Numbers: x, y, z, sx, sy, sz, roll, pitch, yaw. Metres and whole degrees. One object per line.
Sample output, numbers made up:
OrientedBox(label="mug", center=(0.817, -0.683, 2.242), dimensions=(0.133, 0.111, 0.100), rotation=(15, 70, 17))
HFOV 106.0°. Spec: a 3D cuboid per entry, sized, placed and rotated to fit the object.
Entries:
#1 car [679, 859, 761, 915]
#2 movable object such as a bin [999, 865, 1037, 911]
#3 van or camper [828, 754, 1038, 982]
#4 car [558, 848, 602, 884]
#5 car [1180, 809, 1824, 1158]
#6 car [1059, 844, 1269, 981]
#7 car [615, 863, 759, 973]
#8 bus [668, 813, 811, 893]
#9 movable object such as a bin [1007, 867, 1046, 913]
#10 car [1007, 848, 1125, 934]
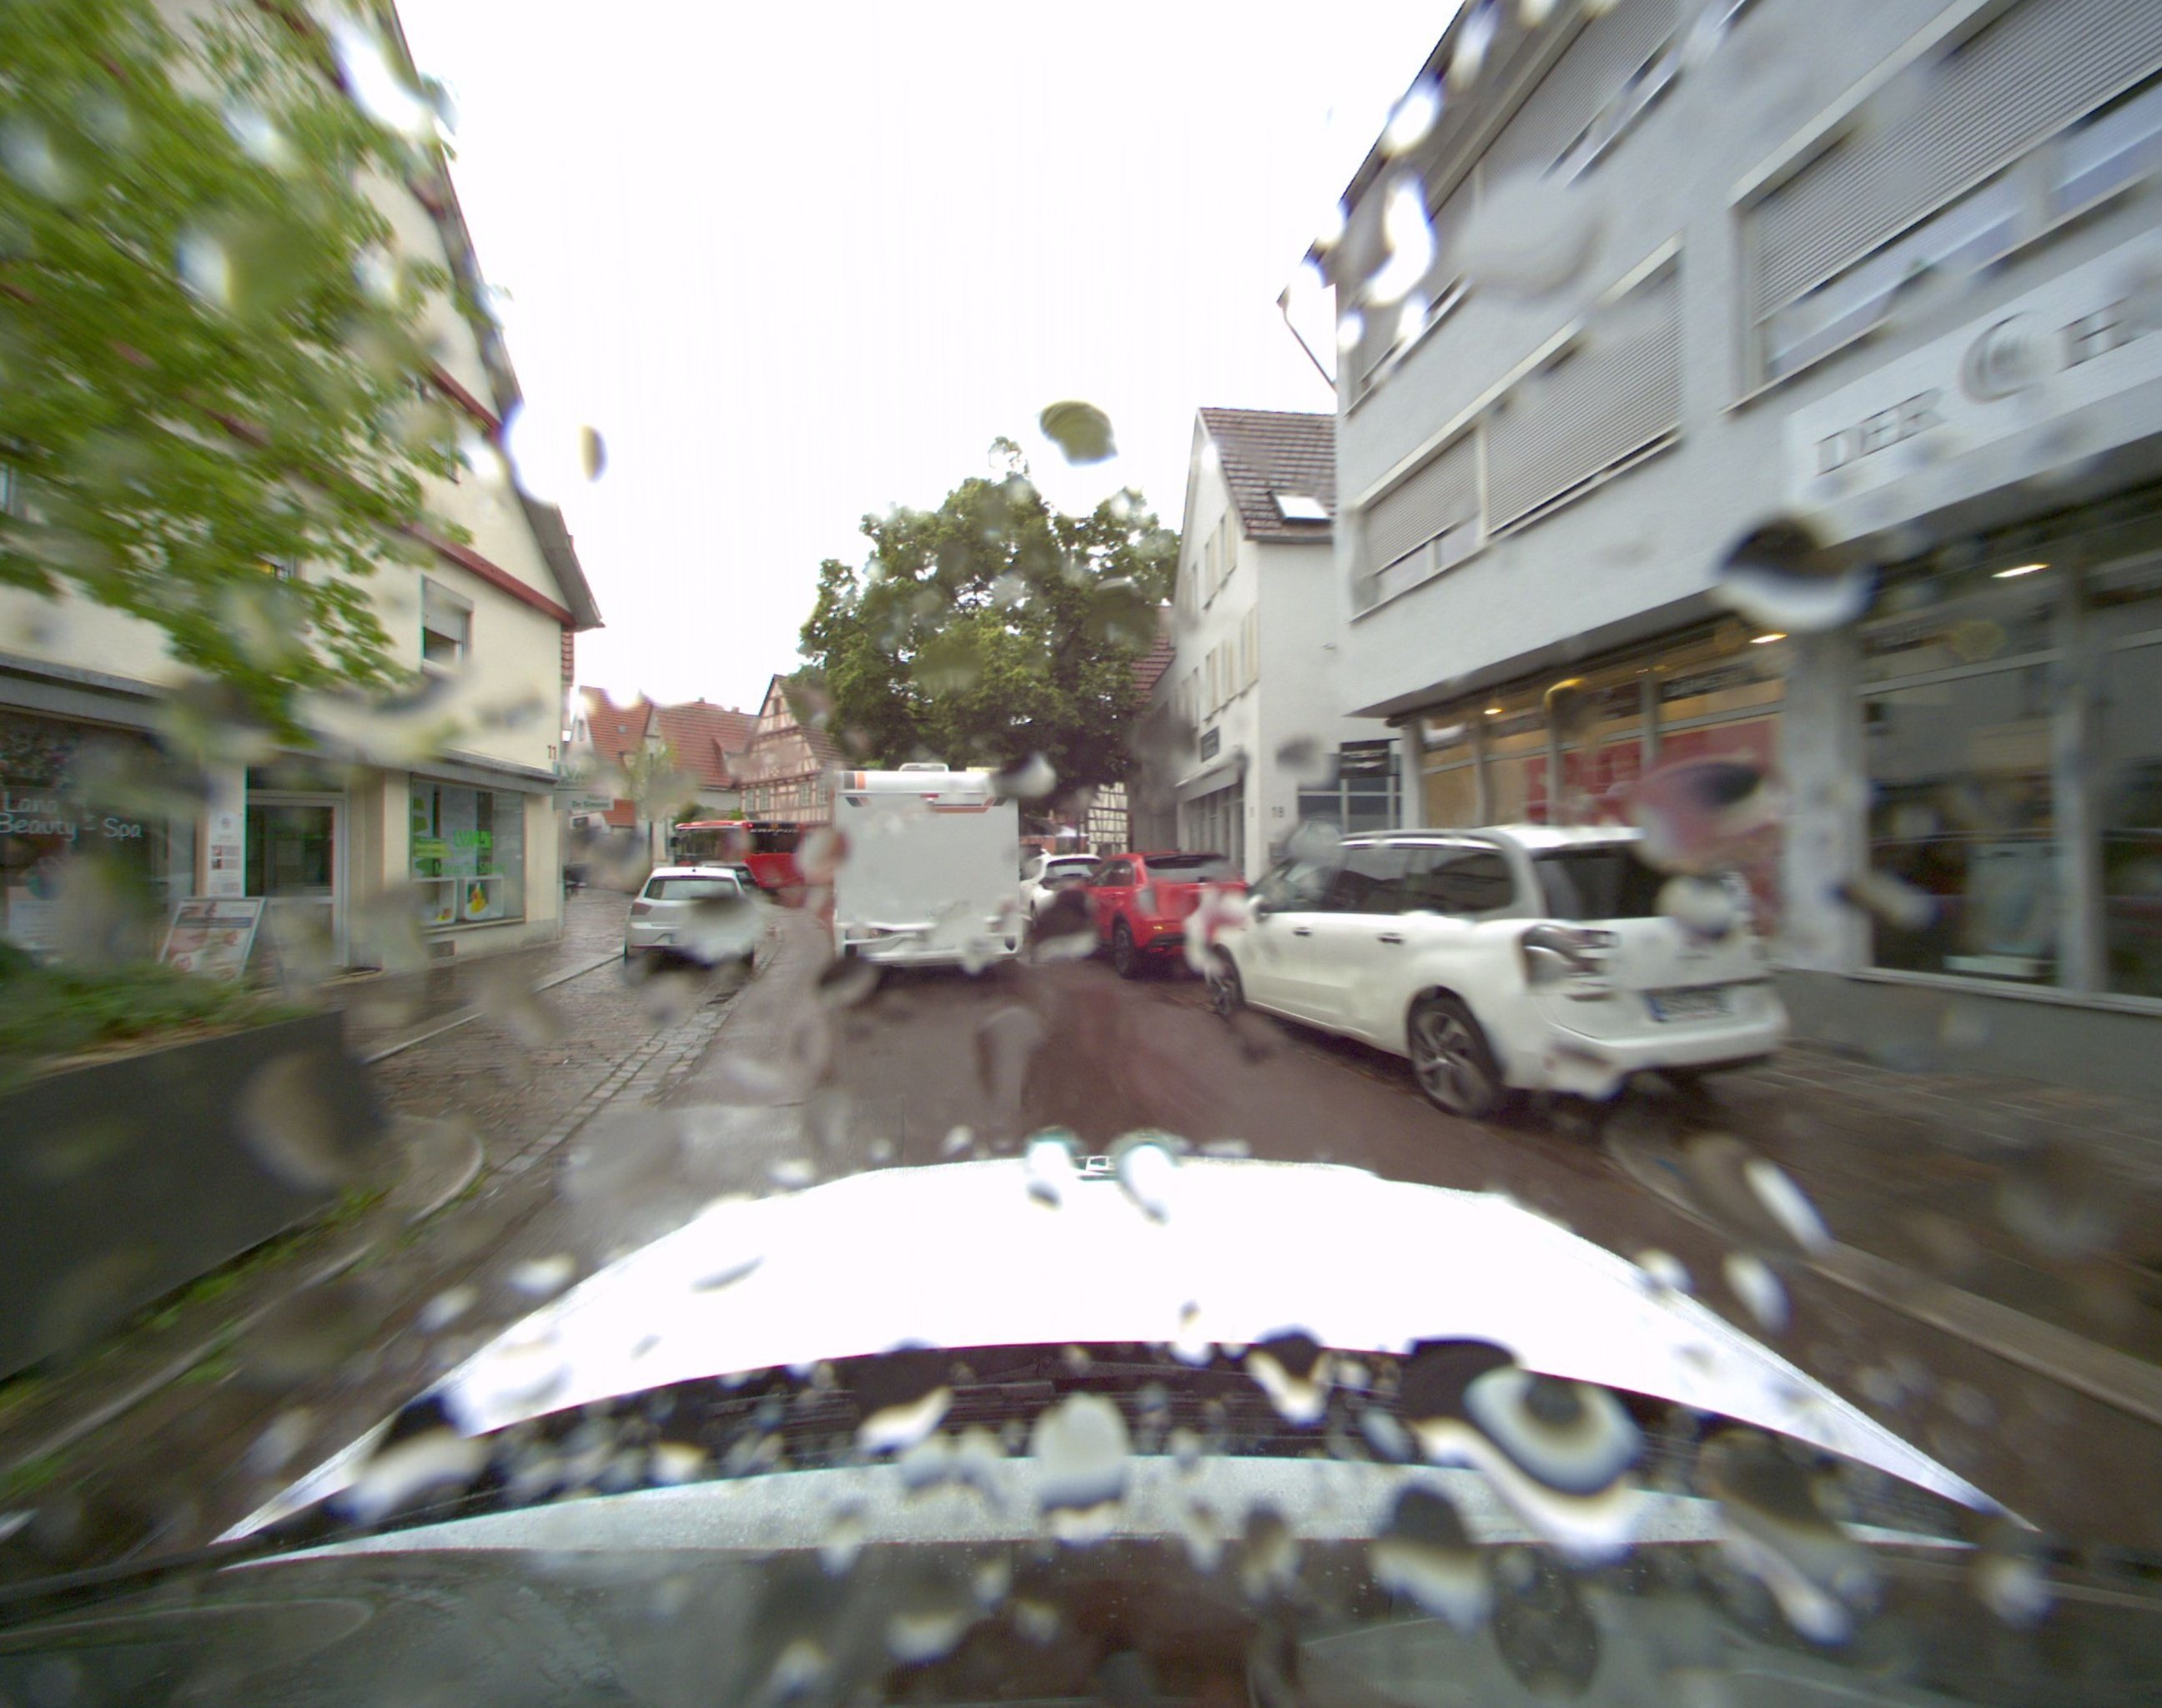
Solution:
OrientedBox(label="car", center=(-10.351, 0.879, 23.201), dimensions=(1.732, 1.414, 3.942), rotation=(0, 0, -30))
OrientedBox(label="movable object such as a bin", center=(-1.590, 0.838, 20.427), dimensions=(0.836, 1.112, 0.585), rotation=(0, -1, -19))
OrientedBox(label="van or camper", center=(-2.701, 0.172, 12.850), dimensions=(2.444, 2.585, 6.710), rotation=(0, 0, -18))
OrientedBox(label="car", center=(-24.323, 0.578, 39.525), dimensions=(1.710, 1.675, 3.851), rotation=(1, -1, -32))
OrientedBox(label="car", center=(2.475, 0.626, 6.222), dimensions=(1.780, 1.631, 4.444), rotation=(-1, -1, -17))
OrientedBox(label="car", center=(0.955, 0.672, 11.362), dimensions=(1.680, 1.529, 3.780), rotation=(-2, 0, -15))
OrientedBox(label="car", center=(-6.184, 0.893, 12.977), dimensions=(1.729, 1.414, 3.949), rotation=(2, -1, -24))
OrientedBox(label="bus", center=(-15.425, -0.001, 36.130), dimensions=(2.836, 3.088, 10.482), rotation=(0, 0, -40))
OrientedBox(label="movable object such as a bin", center=(-1.337, 0.864, 19.885), dimensions=(0.836, 1.112, 0.557), rotation=(0, -1, -19))
OrientedBox(label="car", center=(-0.423, 0.663, 16.914), dimensions=(1.679, 1.528, 3.782), rotation=(-2, 0, -13))
